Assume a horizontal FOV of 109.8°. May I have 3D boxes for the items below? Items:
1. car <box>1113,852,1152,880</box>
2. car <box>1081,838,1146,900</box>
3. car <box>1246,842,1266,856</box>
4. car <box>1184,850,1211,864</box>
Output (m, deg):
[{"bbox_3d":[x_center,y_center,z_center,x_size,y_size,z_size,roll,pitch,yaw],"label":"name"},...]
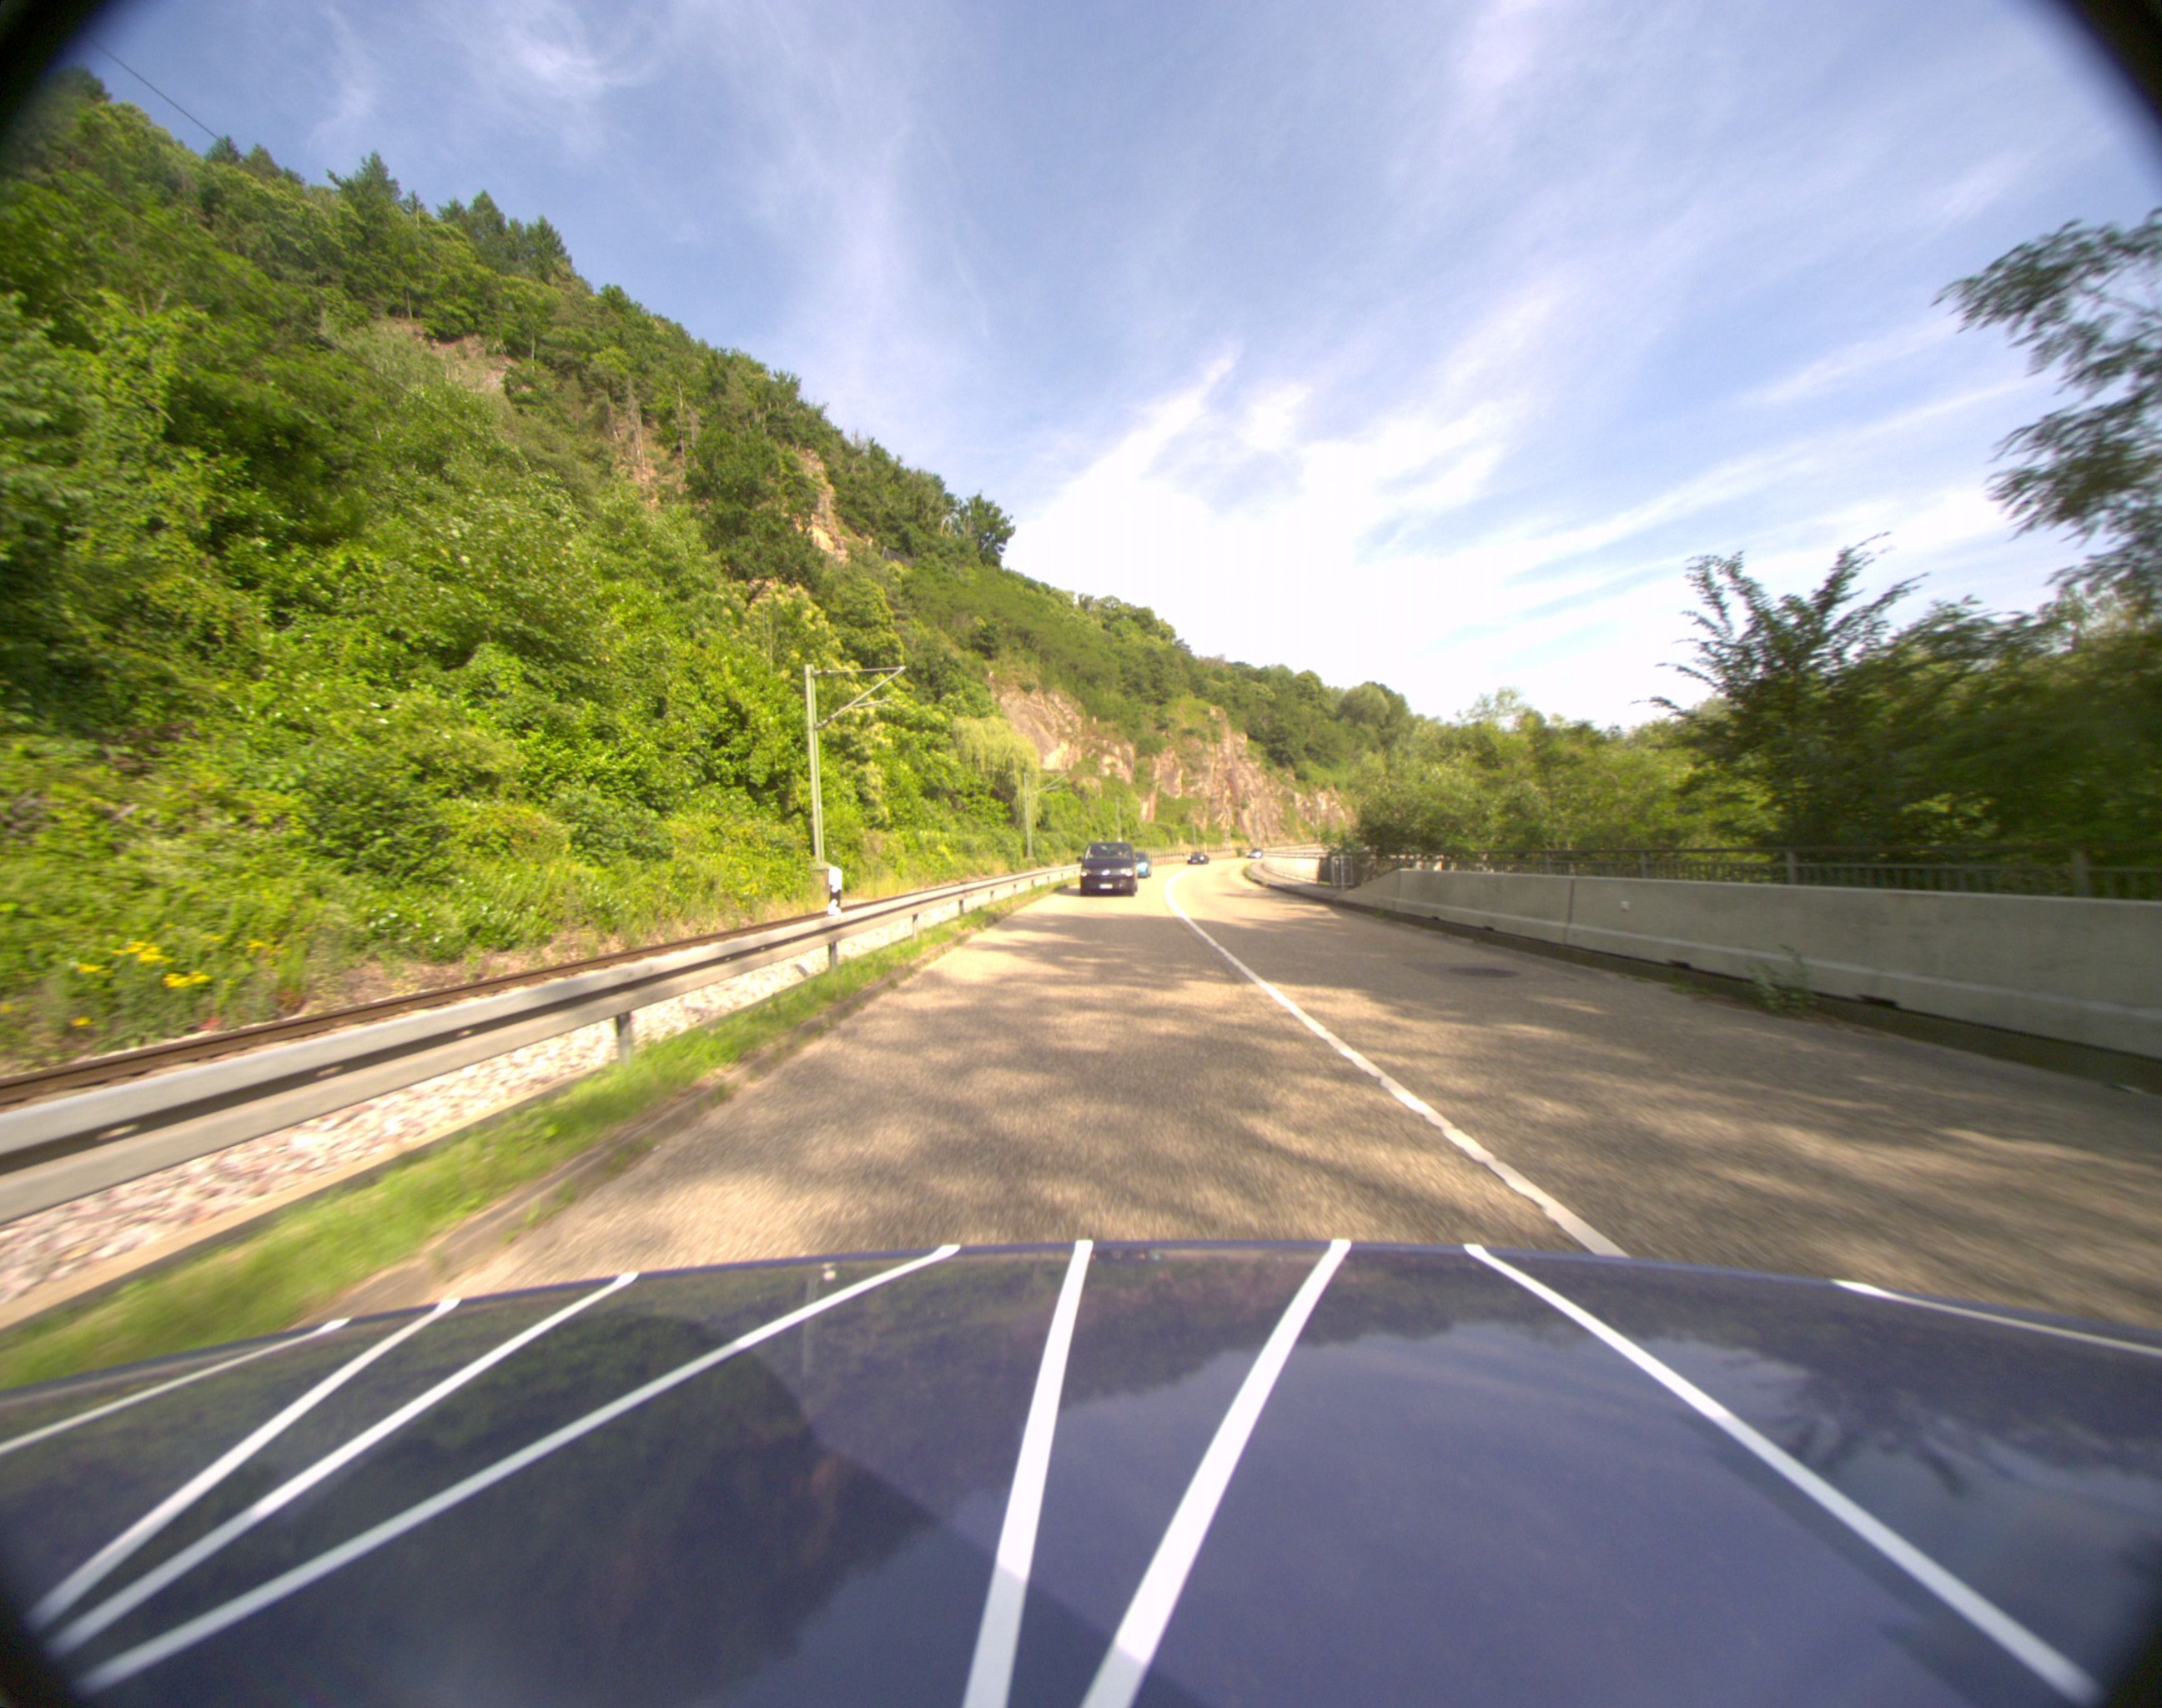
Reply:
[{"bbox_3d":[3.058,0.673,44.645,1.997,1.486,4.222,-1,1,7],"label":"car"},{"bbox_3d":[1.230,0.542,27.260,1.998,2.001,4.003,-2,-1,6],"label":"car"},{"bbox_3d":[26.203,-0.730,113.563,1.995,2.002,4.007,-1,1,27],"label":"car"},{"bbox_3d":[12.588,0.301,82.080,1.995,1.486,4.226,-1,1,21],"label":"car"}]
